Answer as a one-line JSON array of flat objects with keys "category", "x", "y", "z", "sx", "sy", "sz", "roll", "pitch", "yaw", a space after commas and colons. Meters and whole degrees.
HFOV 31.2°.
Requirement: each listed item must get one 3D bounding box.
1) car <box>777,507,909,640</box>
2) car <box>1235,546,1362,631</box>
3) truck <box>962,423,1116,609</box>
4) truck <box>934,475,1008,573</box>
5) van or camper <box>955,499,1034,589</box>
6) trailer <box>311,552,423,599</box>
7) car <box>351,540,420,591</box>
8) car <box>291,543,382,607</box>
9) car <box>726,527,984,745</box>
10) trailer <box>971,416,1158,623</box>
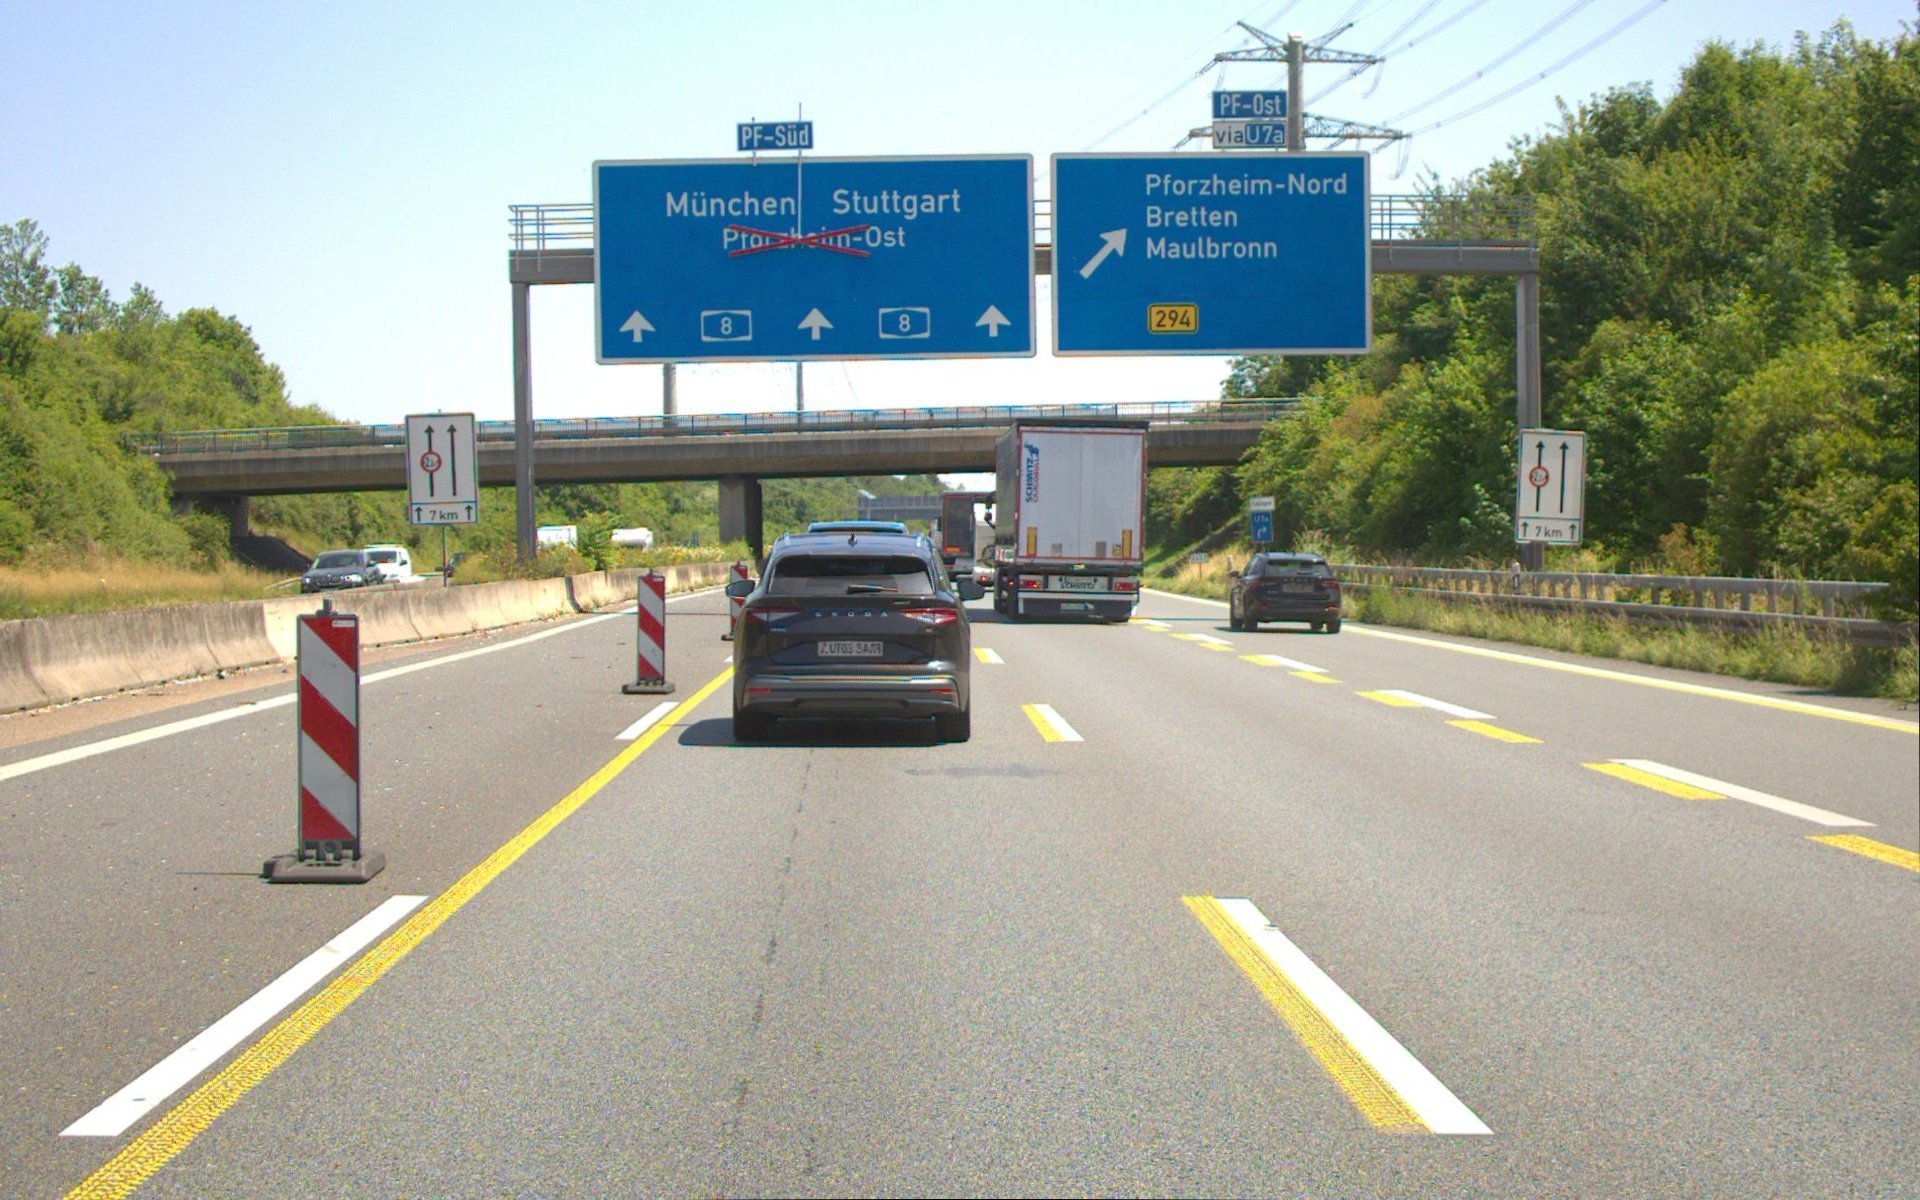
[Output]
[{"category": "car", "x": -1.823, "y": -0.459, "z": 53.595, "sx": 1.895, "sy": 1.835, "sz": 4.443, "roll": 2, "pitch": 2, "yaw": -2}, {"category": "car", "x": 6.274, "y": -0.240, "z": 64.174, "sx": 1.779, "sy": 1.484, "sz": 4.464, "roll": 1, "pitch": 1, "yaw": -2}, {"category": "truck", "x": 1.741, "y": -1.927, "z": 79.739, "sx": 3.024, "sy": 4.073, "sz": 7.796, "roll": -1, "pitch": 1, "yaw": -2}, {"category": "truck", "x": 0.452, "y": -3.380, "z": 153.671, "sx": 3.078, "sy": 4.132, "sz": 13.055, "roll": 1, "pitch": 1, "yaw": 0}, {"category": "van or camper", "x": 1.145, "y": -1.934, "z": 117.672, "sx": 2.586, "sy": 2.958, "sz": 6.085, "roll": 1, "pitch": 1, "yaw": 0}, {"category": "trailer", "x": -18.172, "y": -0.777, "z": 105.677, "sx": 2.356, "sy": 1.339, "sz": 7.217, "roll": -1, "pitch": 1, "yaw": -1}, {"category": "car", "x": -23.204, "y": -1.417, "z": 139.003, "sx": 1.930, "sy": 2.007, "sz": 5.597, "roll": -1, "pitch": 1, "yaw": -1}, {"category": "car", "x": -18.058, "y": -0.745, "z": 99.739, "sx": 1.913, "sy": 1.747, "sz": 4.566, "roll": 1, "pitch": 1, "yaw": -1}, {"category": "car", "x": -0.860, "y": 0.218, "z": 27.628, "sx": 1.895, "sy": 1.586, "sz": 4.443, "roll": 0, "pitch": 1, "yaw": -2}, {"category": "trailer", "x": 2.057, "y": -1.684, "z": 72.722, "sx": 3.065, "sy": 4.028, "sz": 11.489, "roll": 0, "pitch": 1, "yaw": -3}]
